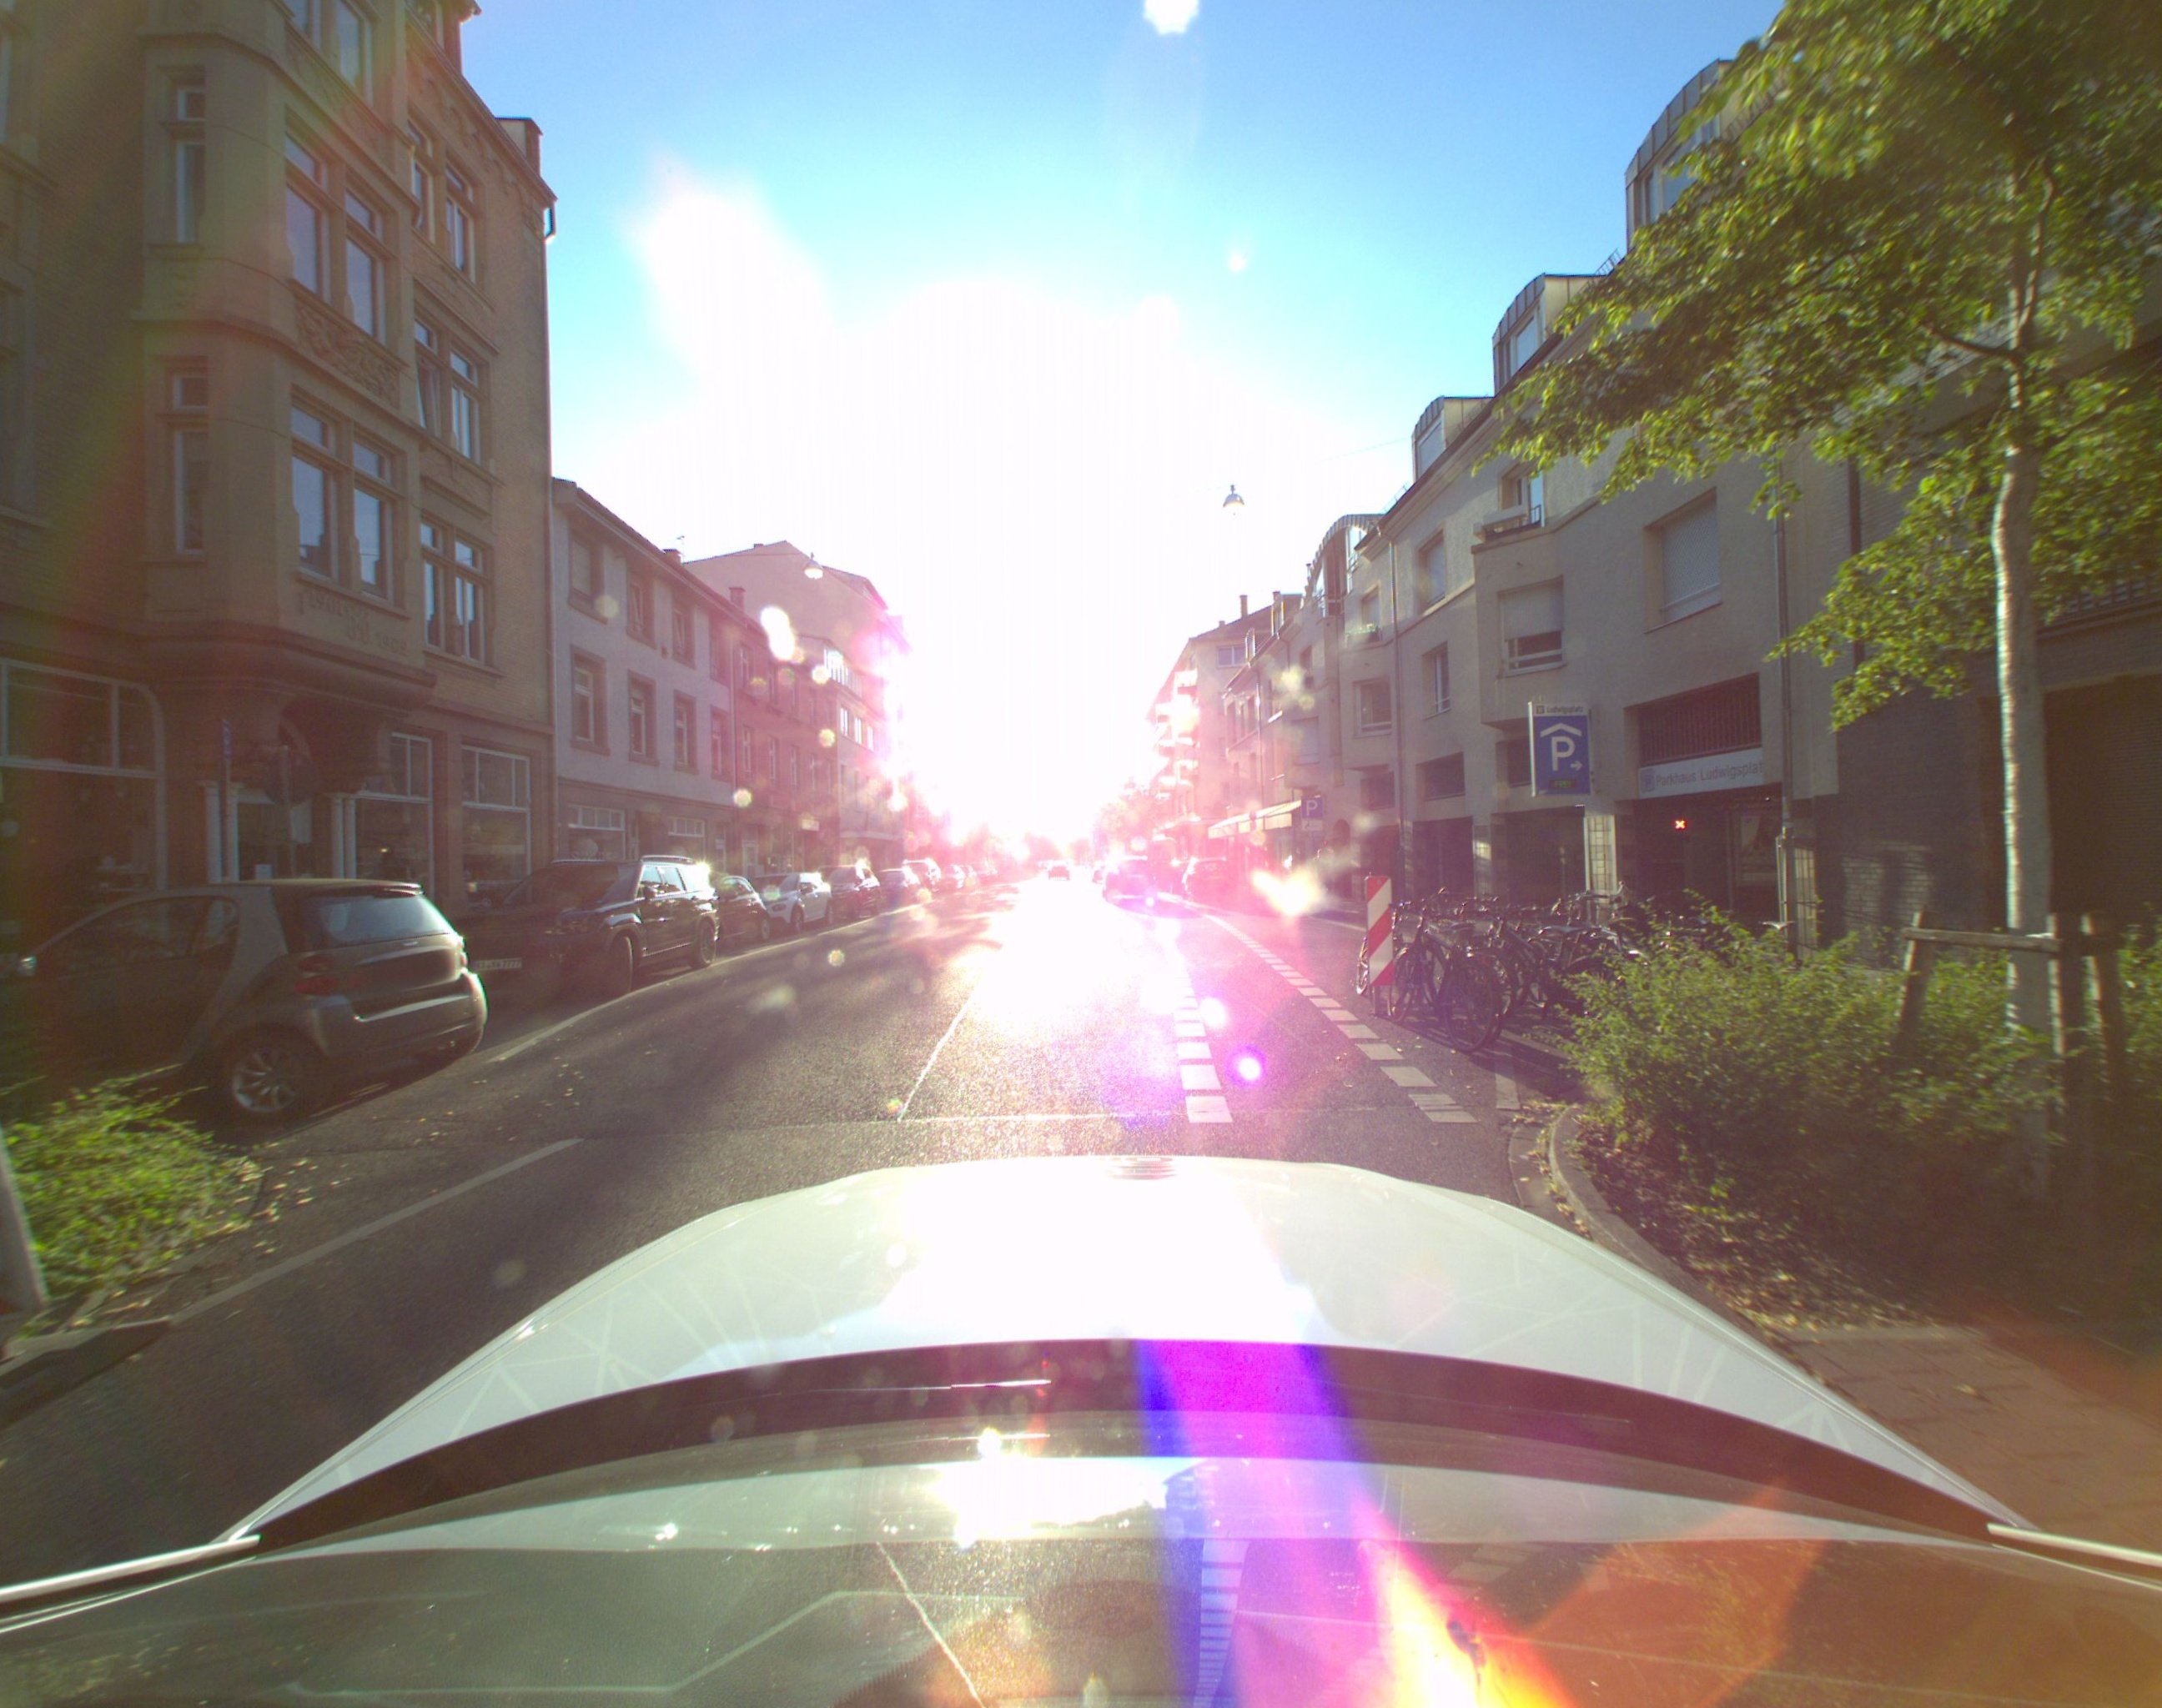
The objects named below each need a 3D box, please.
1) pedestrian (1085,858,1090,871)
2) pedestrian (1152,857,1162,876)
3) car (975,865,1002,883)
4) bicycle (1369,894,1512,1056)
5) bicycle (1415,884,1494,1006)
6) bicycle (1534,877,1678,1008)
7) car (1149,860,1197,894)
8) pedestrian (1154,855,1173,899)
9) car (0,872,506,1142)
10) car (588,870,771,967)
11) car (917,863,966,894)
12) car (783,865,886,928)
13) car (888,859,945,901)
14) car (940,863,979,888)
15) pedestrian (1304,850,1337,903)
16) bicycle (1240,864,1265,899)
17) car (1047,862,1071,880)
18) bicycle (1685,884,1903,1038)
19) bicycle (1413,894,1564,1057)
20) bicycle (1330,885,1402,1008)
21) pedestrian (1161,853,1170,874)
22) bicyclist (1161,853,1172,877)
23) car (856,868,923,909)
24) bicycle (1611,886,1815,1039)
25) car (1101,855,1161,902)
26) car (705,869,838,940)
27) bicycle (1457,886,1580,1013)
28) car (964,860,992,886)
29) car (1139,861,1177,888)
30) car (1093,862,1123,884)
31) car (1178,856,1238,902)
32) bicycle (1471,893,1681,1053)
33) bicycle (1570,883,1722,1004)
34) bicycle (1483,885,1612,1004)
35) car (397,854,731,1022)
[{"bbox_3d":[0.853,1.393,108.624,0.496,1.715,0.459,-1,0,-21],"label":"pedestrian"},{"bbox_3d":[6.332,1.037,67.995,0.686,1.559,0.862,-2,-1,-1],"label":"pedestrian"},{"bbox_3d":[-7.722,1.671,68.042,1.828,1.328,4.121,-2,0,-2],"label":"car"},{"bbox_3d":[2.887,0.920,6.689,0.381,1.100,1.521,-2,-1,-4],"label":"bicycle"},{"bbox_3d":[3.879,0.901,8.534,0.368,1.108,1.528,-2,-1,11],"label":"bicycle"},{"bbox_3d":[5.311,0.843,8.337,0.381,1.189,1.520,-1,-1,-4],"label":"bicycle"},{"bbox_3d":[4.140,1.031,37.195,1.629,1.424,3.755,-2,-1,-1],"label":"car"},{"bbox_3d":[3.161,0.875,31.118,0.444,1.665,0.561,-2,-1,-26],"label":"pedestrian"},{"bbox_3d":[-6.164,0.996,5.940,2.689,1.520,1.569,-3,1,-5],"label":"car"},{"bbox_3d":[-7.667,1.161,15.952,1.768,1.515,3.483,-4,-1,0],"label":"car"},{"bbox_3d":[-7.894,1.361,46.597,1.821,1.556,5.135,-3,0,0],"label":"car"},{"bbox_3d":[-7.333,1.192,24.688,1.768,1.633,4.237,-3,0,0],"label":"car"},{"bbox_3d":[-7.935,1.193,39.809,1.823,1.810,5.343,-3,0,-3],"label":"car"},{"bbox_3d":[-7.792,1.357,52.504,1.822,1.439,4.551,-4,-1,-1],"label":"car"},{"bbox_3d":[7.703,0.708,26.230,0.807,1.646,0.606,-3,-2,3],"label":"pedestrian"},{"bbox_3d":[6.252,0.993,29.791,0.396,1.234,1.823,-2,0,-3],"label":"bicycle"},{"bbox_3d":[-1.786,1.390,68.281,1.878,1.415,4.323,-1,-1,-1],"label":"car"},{"bbox_3d":[5.915,0.830,6.869,0.381,1.100,1.520,-2,-1,-4],"label":"bicycle"},{"bbox_3d":[3.314,0.928,6.760,0.381,1.100,1.521,-2,0,-4],"label":"bicycle"},{"bbox_3d":[2.970,0.916,8.585,0.360,1.141,1.568,-2,-1,7],"label":"bicycle"},{"bbox_3d":[7.046,0.794,67.767,0.685,1.721,0.717,-3,-1,5],"label":"pedestrian"},{"bbox_3d":[6.134,0.792,58.271,0.648,1.702,1.096,-2,-1,2],"label":"bicyclist"},{"bbox_3d":[-7.756,1.362,33.332,1.708,1.440,4.308,-3,0,-1],"label":"car"},{"bbox_3d":[5.307,0.855,6.960,0.381,1.100,1.519,-2,-1,-7],"label":"bicycle"},{"bbox_3d":[1.858,0.899,31.389,1.989,1.655,4.672,0,-1,0],"label":"car"},{"bbox_3d":[-7.553,1.166,20.307,1.768,1.515,3.949,-1,0,0],"label":"car"},{"bbox_3d":[4.386,0.907,8.274,0.380,1.100,1.565,-2,-1,1],"label":"bicycle"},{"bbox_3d":[-7.809,1.431,61.857,1.829,1.854,4.117,-1,-1,-4],"label":"car"},{"bbox_3d":[4.203,1.099,44.821,1.698,1.436,3.930,-1,-1,0],"label":"car"},{"bbox_3d":[1.822,1.274,55.968,1.916,1.415,4.546,1,-1,0],"label":"car"},{"bbox_3d":[4.692,0.893,30.327,1.629,1.553,2.691,-2,0,-3],"label":"car"},{"bbox_3d":[3.951,0.893,6.638,0.383,1.100,1.512,-2,-1,-22],"label":"bicycle"},{"bbox_3d":[5.789,0.872,8.447,0.381,1.100,1.520,-2,-1,-4],"label":"bicycle"},{"bbox_3d":[4.876,0.897,8.622,0.381,1.100,1.521,-1,-1,-4],"label":"bicycle"},{"bbox_3d":[-6.652,0.945,11.265,1.901,1.728,4.693,-3,-1,-5],"label":"car"}]
